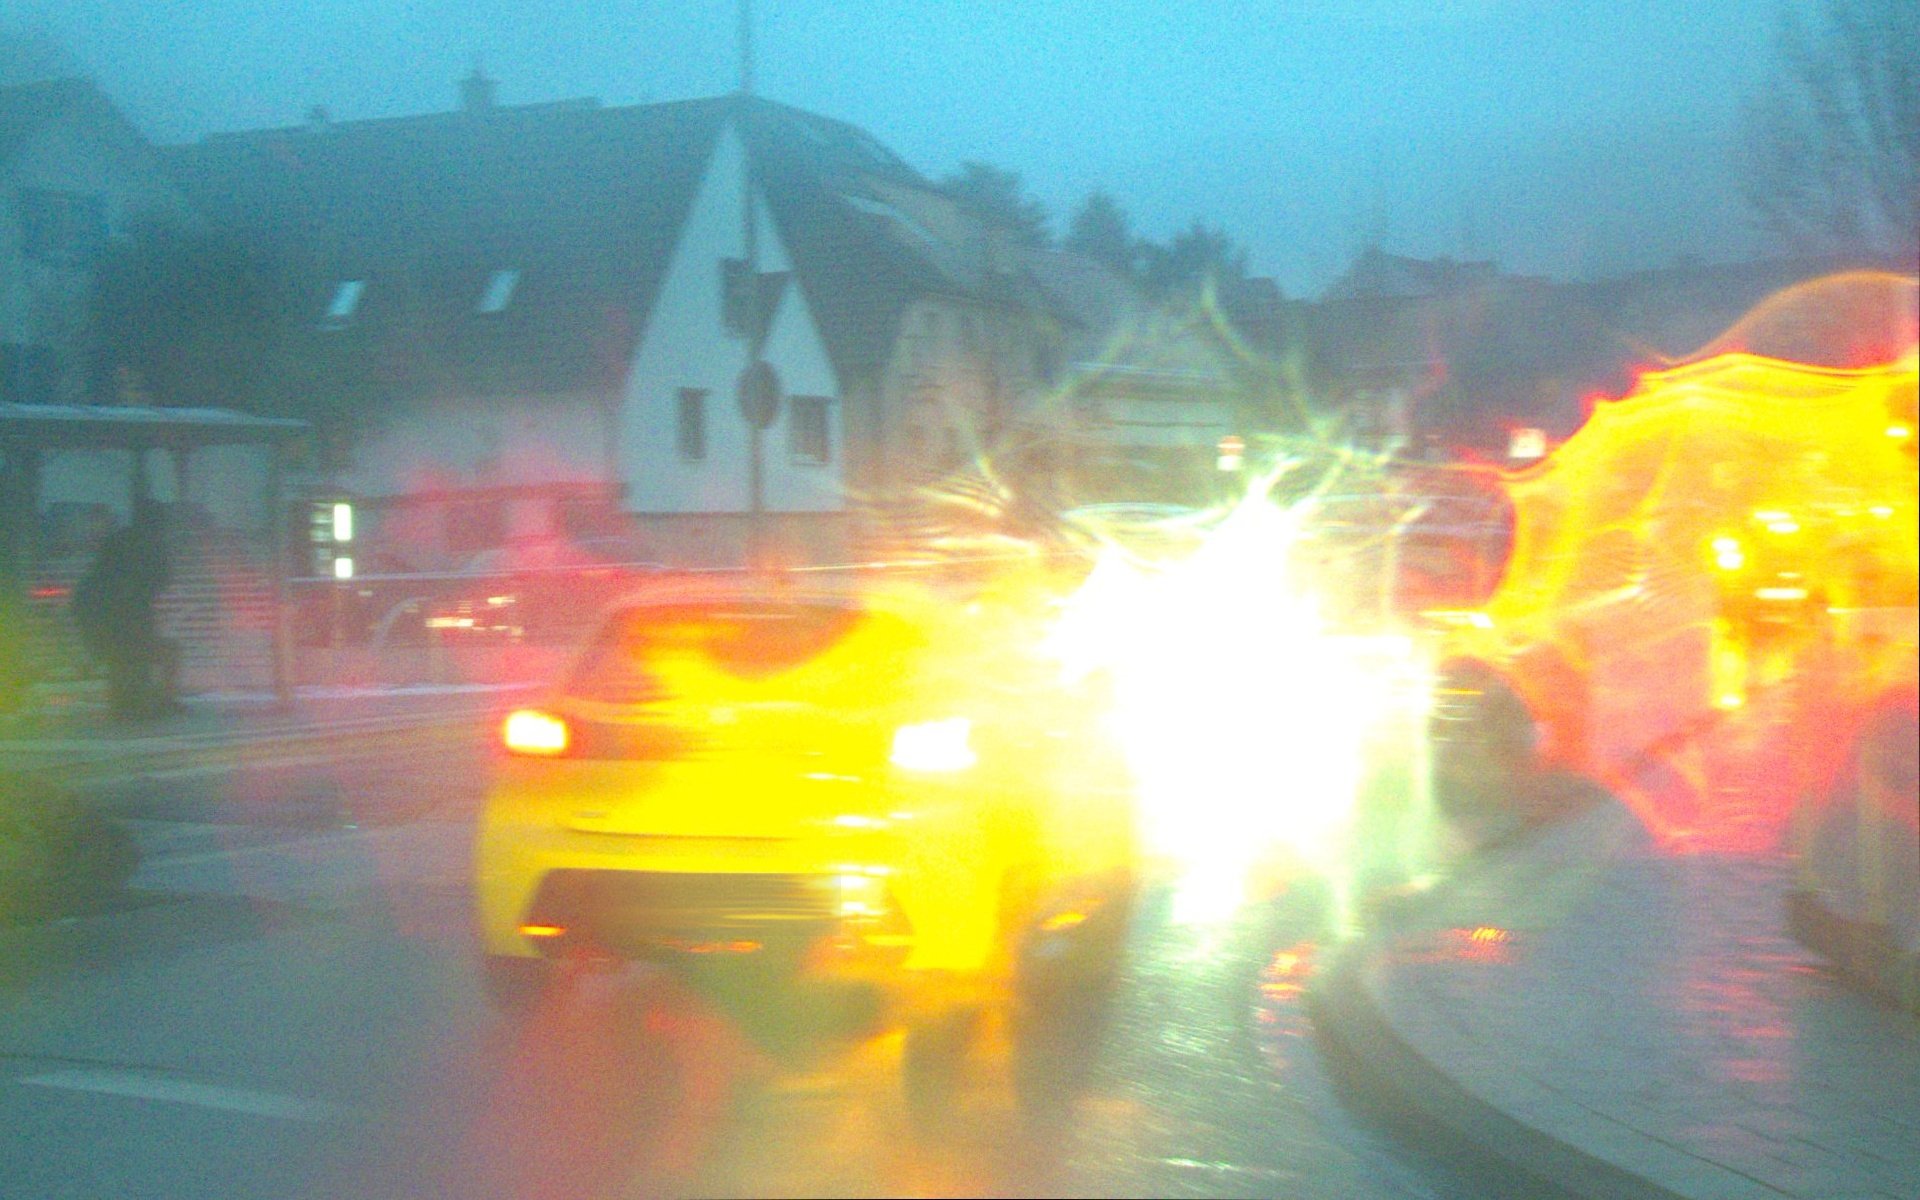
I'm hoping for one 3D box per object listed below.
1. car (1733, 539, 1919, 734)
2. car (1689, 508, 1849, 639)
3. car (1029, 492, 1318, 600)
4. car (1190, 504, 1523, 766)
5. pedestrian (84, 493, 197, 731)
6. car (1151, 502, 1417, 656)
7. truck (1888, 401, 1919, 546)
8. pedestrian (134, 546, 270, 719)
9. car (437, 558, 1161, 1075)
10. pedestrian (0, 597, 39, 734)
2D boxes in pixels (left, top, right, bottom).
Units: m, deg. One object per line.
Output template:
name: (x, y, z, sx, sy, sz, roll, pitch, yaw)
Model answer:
car: (8.232, 0.280, 31.235, 1.813, 1.565, 3.847, -1, 2, 21)
car: (10.961, -0.386, 46.410, 1.723, 1.626, 3.997, -1, 2, 19)
car: (3.437, -0.872, 55.126, 4.311, 1.634, 1.845, -1, 2, 16)
car: (2.854, 0.178, 24.000, 1.916, 1.609, 3.949, -1, 2, 12)
pedestrian: (-6.330, 0.084, 26.577, 0.728, 1.811, 0.531, -1, 1, -3)
car: (3.610, -0.273, 37.683, 1.743, 1.563, 4.057, 0, 2, 23)
truck: (21.752, -2.761, 74.202, 2.717, 3.000, 5.986, 0, 2, 21)
pedestrian: (-6.056, 0.251, 27.478, 0.784, 1.343, 0.716, 0, 2, 21)
car: (-0.366, 0.598, 11.969, 1.710, 1.417, 4.011, 0, 2, 9)
pedestrian: (-7.542, 0.493, 25.883, 0.862, 1.007, 0.811, 0, 2, 17)
